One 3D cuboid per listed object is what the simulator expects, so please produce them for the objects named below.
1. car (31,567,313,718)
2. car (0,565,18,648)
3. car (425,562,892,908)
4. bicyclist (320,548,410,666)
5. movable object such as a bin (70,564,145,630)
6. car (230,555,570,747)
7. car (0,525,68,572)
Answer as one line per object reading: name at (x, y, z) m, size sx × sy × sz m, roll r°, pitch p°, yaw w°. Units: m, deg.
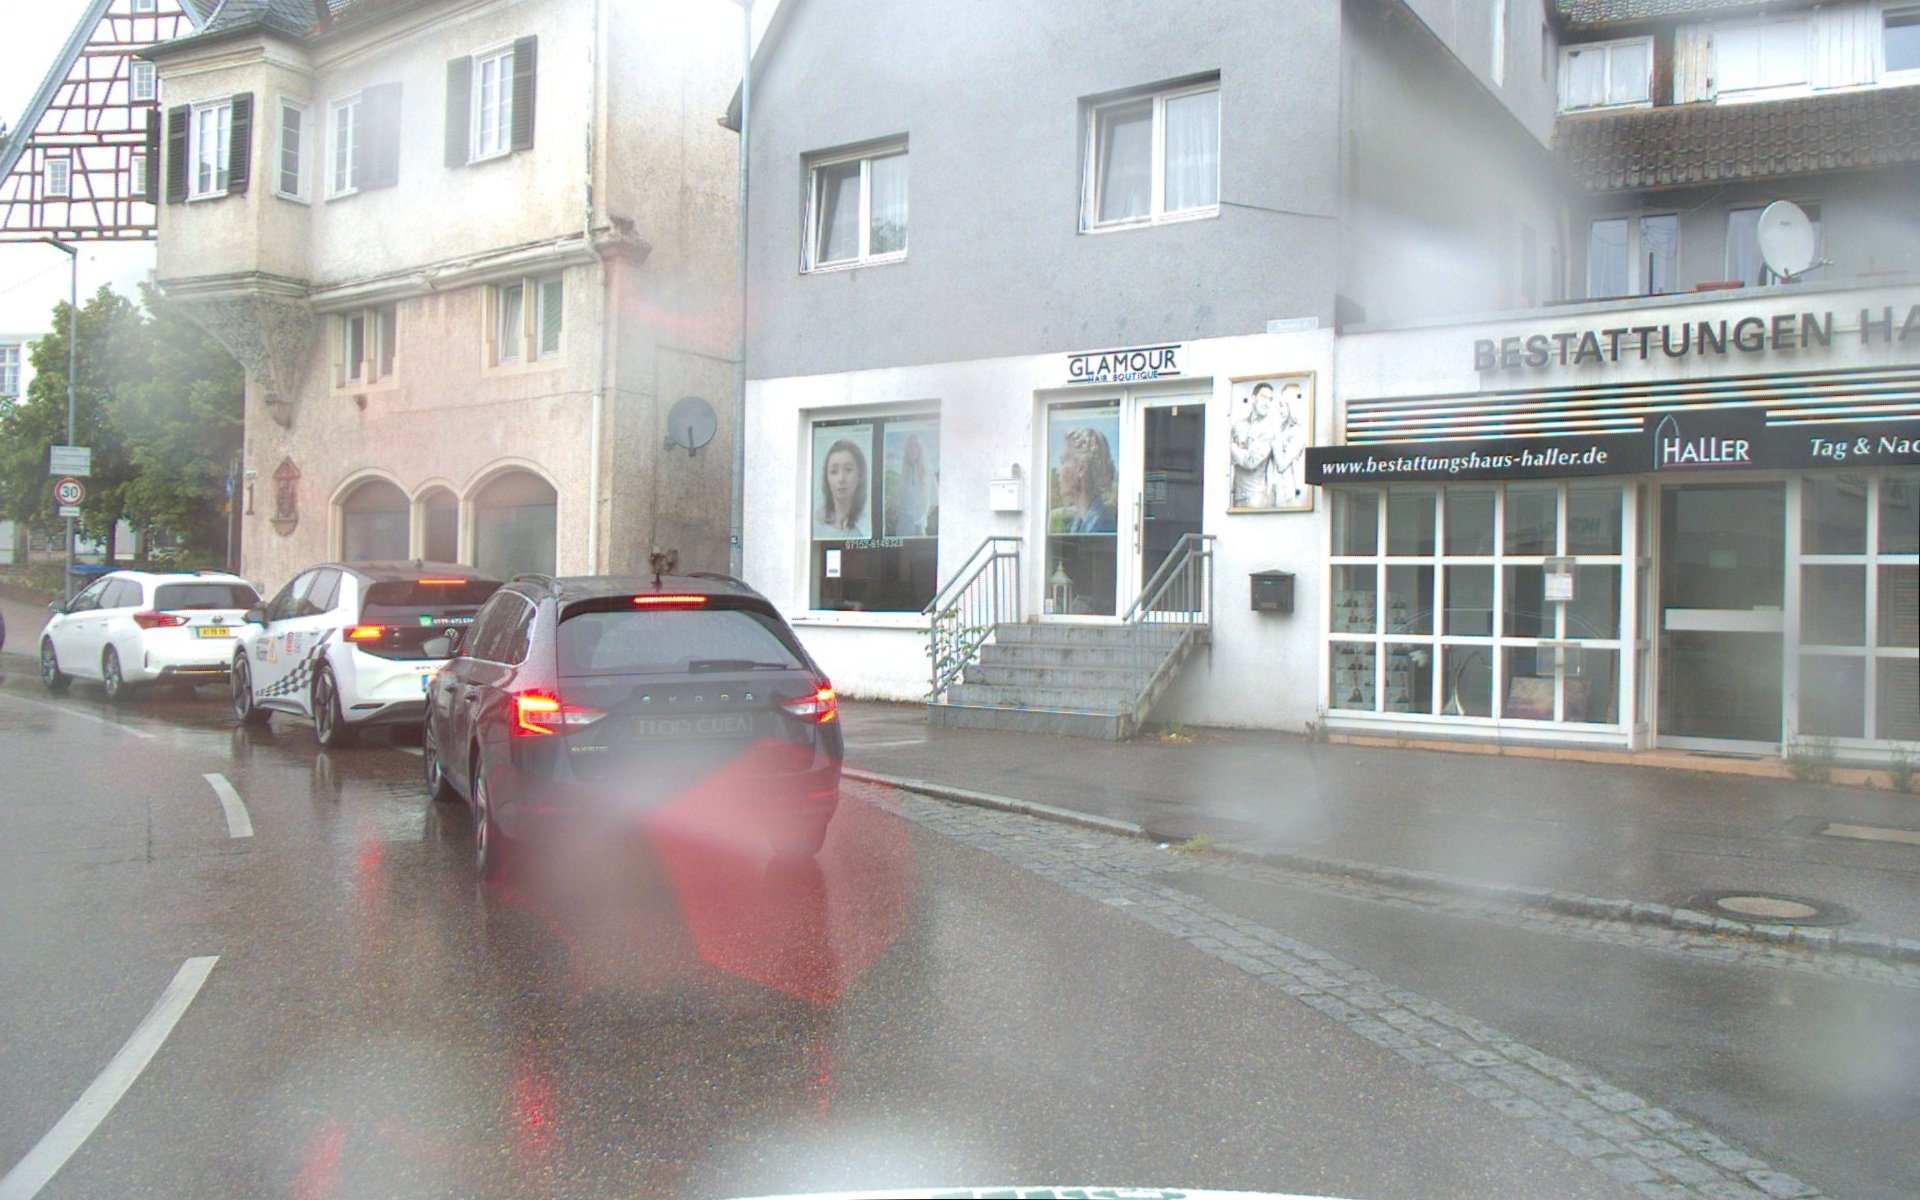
car at (-9.590, 0.434, 19.970) m, size 1.876 × 1.624 × 4.257 m, roll 0°, pitch 1°, yaw -43°
car at (-16.983, 0.078, 27.242) m, size 1.980 × 1.324 × 3.945 m, roll 0°, pitch 1°, yaw -39°
car at (-1.952, 0.555, 9.406) m, size 1.860 × 1.473 × 4.330 m, roll 0°, pitch 0°, yaw -21°
bicyclist at (-8.017, 0.082, 22.268) m, size 1.010 × 1.544 × 0.682 m, roll 2°, pitch 1°, yaw 37°
movable object such as a bin at (-17.834, -0.066, 34.601) m, size 1.148 × 1.336 × 1.168 m, roll 1°, pitch 1°, yaw -42°
car at (-5.209, 0.373, 15.065) m, size 1.842 × 1.498 × 3.948 m, roll 0°, pitch 1°, yaw -36°
car at (-34.260, -1.826, 59.141) m, size 1.951 × 1.614 × 4.314 m, roll 1°, pitch 0°, yaw 8°
